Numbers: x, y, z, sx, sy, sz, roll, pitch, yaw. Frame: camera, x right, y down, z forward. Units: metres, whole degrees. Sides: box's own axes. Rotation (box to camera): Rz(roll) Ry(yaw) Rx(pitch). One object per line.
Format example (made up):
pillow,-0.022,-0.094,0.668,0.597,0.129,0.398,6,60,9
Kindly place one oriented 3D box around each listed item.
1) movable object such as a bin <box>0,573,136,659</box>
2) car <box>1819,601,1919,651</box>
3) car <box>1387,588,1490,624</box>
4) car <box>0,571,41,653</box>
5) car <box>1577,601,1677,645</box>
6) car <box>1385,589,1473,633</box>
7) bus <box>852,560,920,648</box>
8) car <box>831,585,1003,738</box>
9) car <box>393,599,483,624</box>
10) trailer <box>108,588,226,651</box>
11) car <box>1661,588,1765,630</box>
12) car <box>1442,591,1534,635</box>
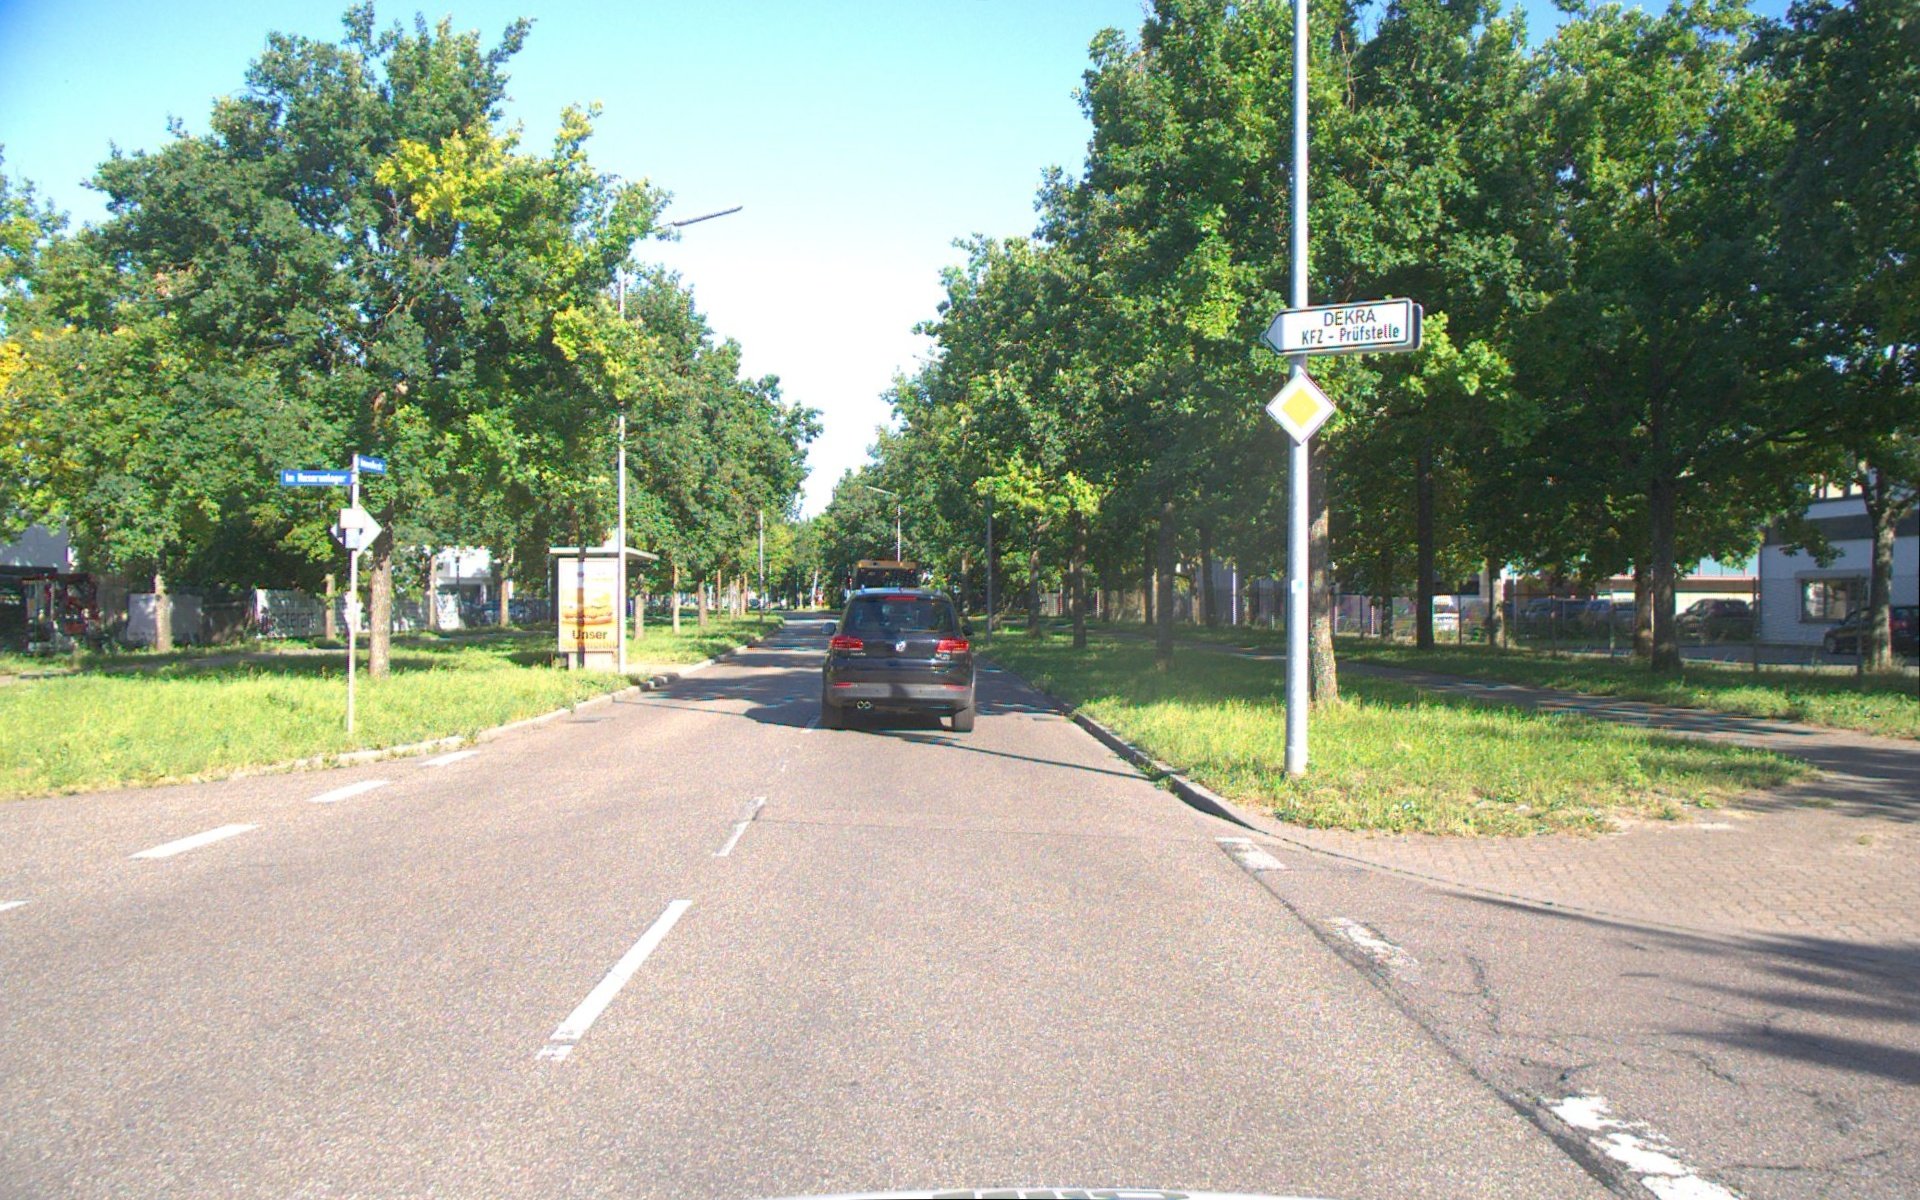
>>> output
movable object such as a bin,-25.083,0.419,46.139,2.060,2.256,4.459,0,0,-1
car,27.349,0.747,48.927,1.730,1.408,3.764,0,0,-5
car,24.285,0.307,83.973,4.541,1.775,2.187,0,0,-9
car,-24.739,0.295,39.998,1.995,2.023,5.803,0,0,-3
car,28.336,0.940,70.407,2.141,1.775,4.637,0,0,-5
car,19.855,0.450,70.202,2.141,1.775,4.637,0,0,-5
bus,-3.203,0.141,71.949,2.709,3.517,11.205,0,0,-3
car,-0.606,0.679,20.843,1.897,1.685,4.424,1,0,-3
car,-27.248,0.583,86.395,4.116,1.310,1.939,0,0,-5
trailer,-25.475,0.589,53.261,2.060,1.948,3.739,0,0,-1
car,32.419,0.375,71.363,2.141,1.775,4.637,0,0,-5
car,22.389,0.530,70.322,2.141,1.775,4.637,0,0,-5
